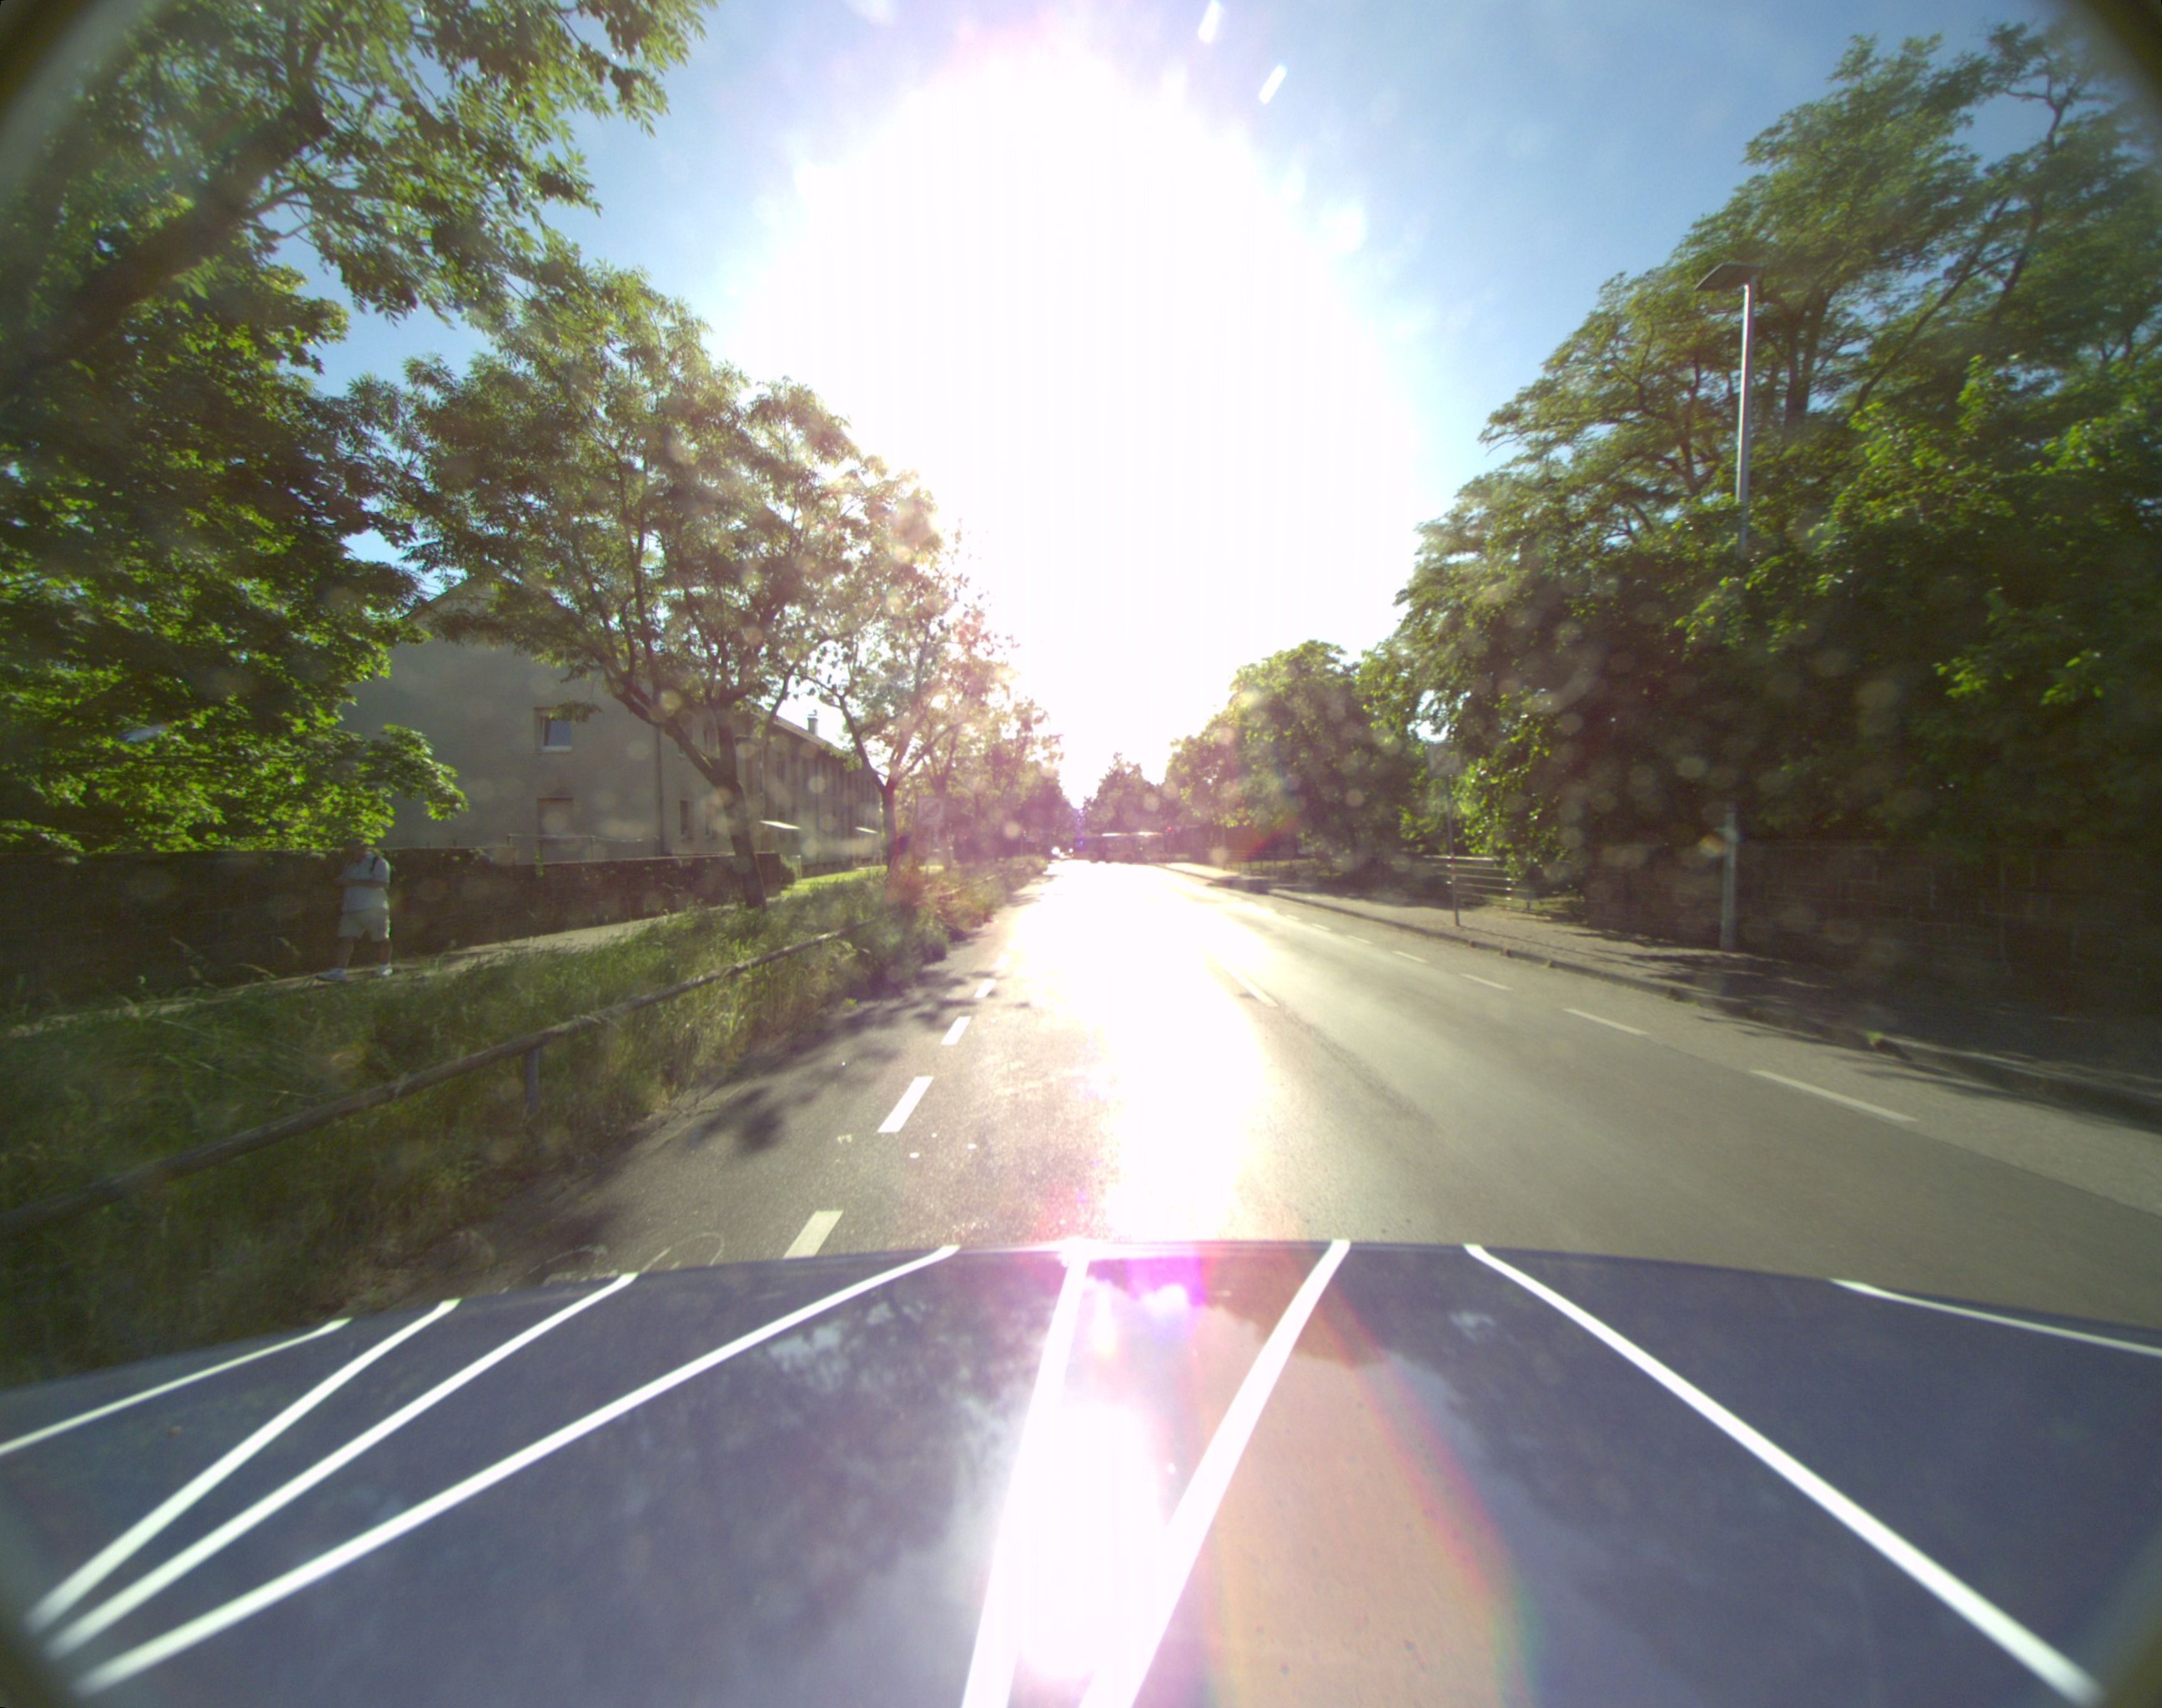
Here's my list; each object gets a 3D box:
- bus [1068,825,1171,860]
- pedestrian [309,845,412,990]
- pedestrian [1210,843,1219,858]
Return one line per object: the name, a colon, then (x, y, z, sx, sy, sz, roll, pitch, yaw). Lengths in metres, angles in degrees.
bus: (3.676, -1.068, 77.841, 3.136, 3.080, 12.447, -3, 0, -37)
pedestrian: (-8.752, 0.753, 9.254, 0.638, 1.696, 0.612, 2, 1, -1)
pedestrian: (14.351, -0.351, 81.627, 0.800, 1.624, 0.647, -2, 1, 0)
